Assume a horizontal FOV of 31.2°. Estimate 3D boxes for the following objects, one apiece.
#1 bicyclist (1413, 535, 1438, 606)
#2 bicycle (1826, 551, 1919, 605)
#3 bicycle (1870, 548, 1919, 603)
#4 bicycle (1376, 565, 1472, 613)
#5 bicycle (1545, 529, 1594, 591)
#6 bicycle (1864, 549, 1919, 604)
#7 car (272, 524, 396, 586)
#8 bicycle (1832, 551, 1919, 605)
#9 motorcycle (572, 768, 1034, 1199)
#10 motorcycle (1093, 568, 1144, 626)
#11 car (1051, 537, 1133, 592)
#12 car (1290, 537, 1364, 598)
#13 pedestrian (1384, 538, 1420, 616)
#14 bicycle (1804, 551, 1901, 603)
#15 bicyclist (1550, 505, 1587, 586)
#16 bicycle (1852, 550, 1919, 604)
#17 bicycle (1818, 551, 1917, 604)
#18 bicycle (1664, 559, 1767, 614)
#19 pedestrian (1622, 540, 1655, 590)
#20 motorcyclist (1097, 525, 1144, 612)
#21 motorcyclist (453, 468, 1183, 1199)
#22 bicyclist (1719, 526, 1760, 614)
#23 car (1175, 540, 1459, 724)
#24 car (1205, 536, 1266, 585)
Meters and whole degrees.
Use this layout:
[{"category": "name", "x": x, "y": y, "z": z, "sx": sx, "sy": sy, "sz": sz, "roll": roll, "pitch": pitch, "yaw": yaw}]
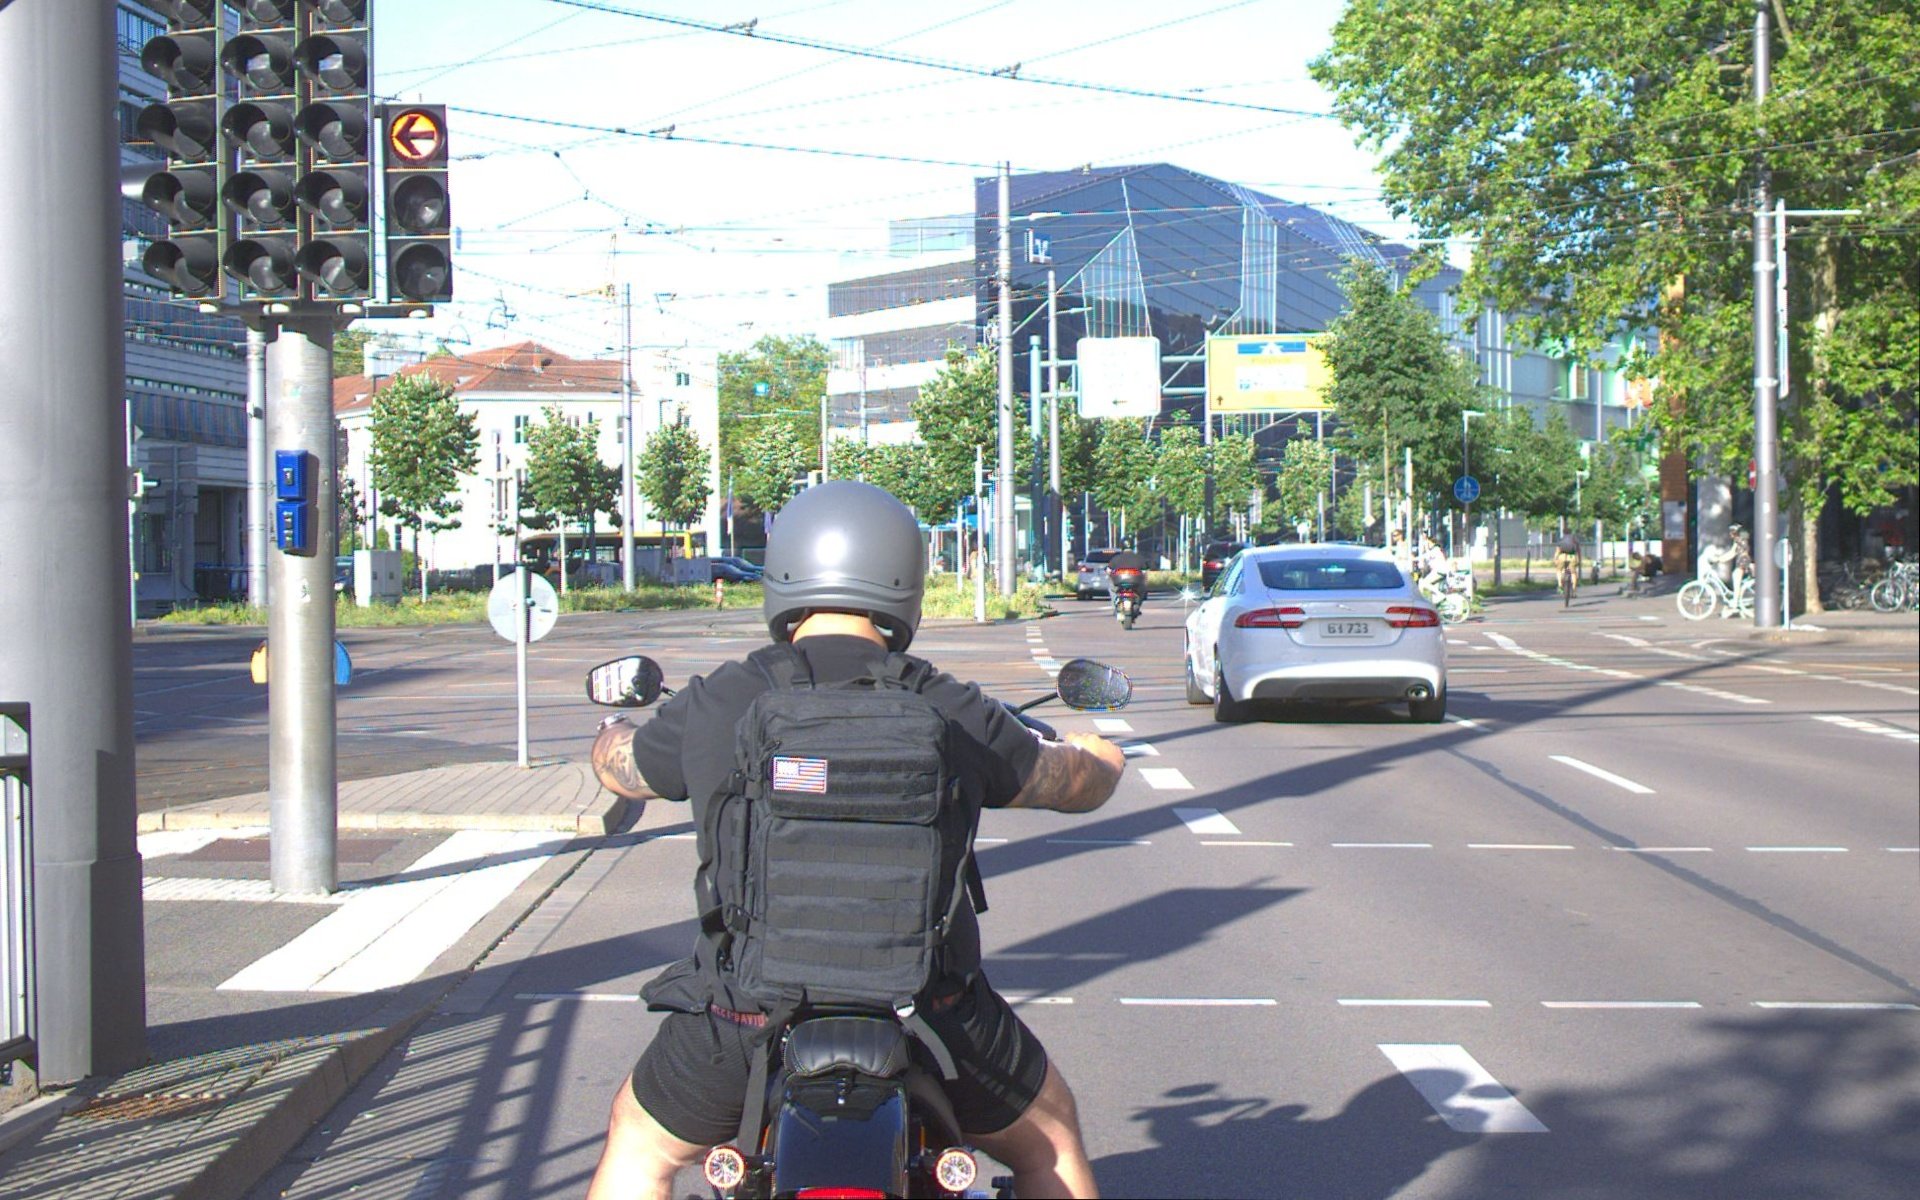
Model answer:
[{"category": "bicyclist", "x": 9.087, "y": -0.572, "z": 67.074, "sx": 0.380, "sy": 1.368, "sz": 0.345, "roll": 1, "pitch": 0, "yaw": -9}, {"category": "bicycle", "x": 18.370, "y": -0.450, "z": 69.002, "sx": 1.880, "sy": 1.043, "sz": 0.360, "roll": 1, "pitch": 1, "yaw": -1}, {"category": "bicycle", "x": 18.385, "y": -0.457, "z": 65.730, "sx": 1.880, "sy": 1.043, "sz": 0.360, "roll": 1, "pitch": 0, "yaw": -1}, {"category": "bicycle", "x": 9.053, "y": -0.213, "z": 67.072, "sx": 1.825, "sy": 0.922, "sz": 0.358, "roll": 1, "pitch": 0, "yaw": -8}, {"category": "bicycle", "x": 13.650, "y": -0.880, "z": 77.024, "sx": 0.726, "sy": 1.362, "sz": 2.917, "roll": 1, "pitch": 0, "yaw": 3}, {"category": "bicycle", "x": 18.481, "y": -0.447, "z": 66.514, "sx": 1.880, "sy": 1.043, "sz": 0.360, "roll": 1, "pitch": 0, "yaw": -1}, {"category": "car", "x": -16.002, "y": -1.133, "z": 88.071, "sx": 1.750, "sy": 1.519, "sz": 3.998, "roll": 1, "pitch": 0, "yaw": 11}, {"category": "bicycle", "x": 18.370, "y": -0.435, "z": 68.516, "sx": 1.880, "sy": 1.043, "sz": 0.360, "roll": 1, "pitch": 0, "yaw": -1}, {"category": "motorcycle", "x": -0.224, "y": 0.874, "z": 5.624, "sx": 0.600, "sy": 1.032, "sz": 2.234, "roll": 1, "pitch": 1, "yaw": -1}, {"category": "motorcycle", "x": 2.931, "y": -0.063, "z": 63.618, "sx": 0.804, "sy": 1.047, "sz": 2.376, "roll": 1, "pitch": 0, "yaw": 0}, {"category": "car", "x": 3.704, "y": -0.969, "z": 95.605, "sx": 1.732, "sy": 1.452, "sz": 4.416, "roll": 1, "pitch": 0, "yaw": 9}, {"category": "car", "x": 11.005, "y": -1.005, "z": 102.864, "sx": 1.732, "sy": 1.726, "sz": 4.609, "roll": 1, "pitch": 2, "yaw": 12}, {"category": "pedestrian", "x": 8.837, "y": -0.463, "z": 68.744, "sx": 0.587, "sy": 1.551, "sz": 0.489, "roll": 1, "pitch": 0, "yaw": -8}, {"category": "bicycle", "x": 18.331, "y": -0.474, "z": 70.653, "sx": 1.880, "sy": 1.043, "sz": 0.360, "roll": 1, "pitch": 1, "yaw": -1}, {"category": "bicyclist", "x": 13.644, "y": -1.222, "z": 77.090, "sx": 0.697, "sy": 1.802, "sz": 0.728, "roll": 1, "pitch": 0, "yaw": 4}, {"category": "bicycle", "x": 18.459, "y": -0.439, "z": 67.328, "sx": 1.880, "sy": 1.043, "sz": 0.360, "roll": 1, "pitch": 0, "yaw": -1}, {"category": "bicycle", "x": 18.342, "y": -0.459, "z": 69.502, "sx": 1.880, "sy": 1.043, "sz": 0.360, "roll": 1, "pitch": 1, "yaw": -1}, {"category": "bicycle", "x": 14.358, "y": -0.251, "z": 65.318, "sx": 1.872, "sy": 1.040, "sz": 0.536, "roll": 0, "pitch": 0, "yaw": 19}, {"category": "pedestrian", "x": 17.912, "y": -0.914, "z": 90.741, "sx": 0.819, "sy": 1.309, "sz": 0.637, "roll": 1, "pitch": 0, "yaw": 9}, {"category": "motorcyclist", "x": 2.949, "y": -0.581, "z": 63.152, "sx": 0.796, "sy": 1.574, "sz": 0.529, "roll": 1, "pitch": 0, "yaw": -1}, {"category": "motorcyclist", "x": -0.204, "y": 0.602, "z": 5.320, "sx": 1.030, "sy": 1.588, "sz": 0.873, "roll": 0, "pitch": 1, "yaw": -1}, {"category": "bicyclist", "x": 14.781, "y": -0.566, "z": 65.182, "sx": 0.688, "sy": 1.667, "sz": 0.540, "roll": 0, "pitch": 0, "yaw": 19}, {"category": "car", "x": 2.931, "y": 0.213, "z": 29.074, "sx": 1.803, "sy": 1.425, "sz": 4.453, "roll": 0, "pitch": 1, "yaw": -2}, {"category": "car", "x": 9.804, "y": -1.391, "z": 122.137, "sx": 1.804, "sy": 1.672, "sz": 4.039, "roll": 1, "pitch": 0, "yaw": 9}]
